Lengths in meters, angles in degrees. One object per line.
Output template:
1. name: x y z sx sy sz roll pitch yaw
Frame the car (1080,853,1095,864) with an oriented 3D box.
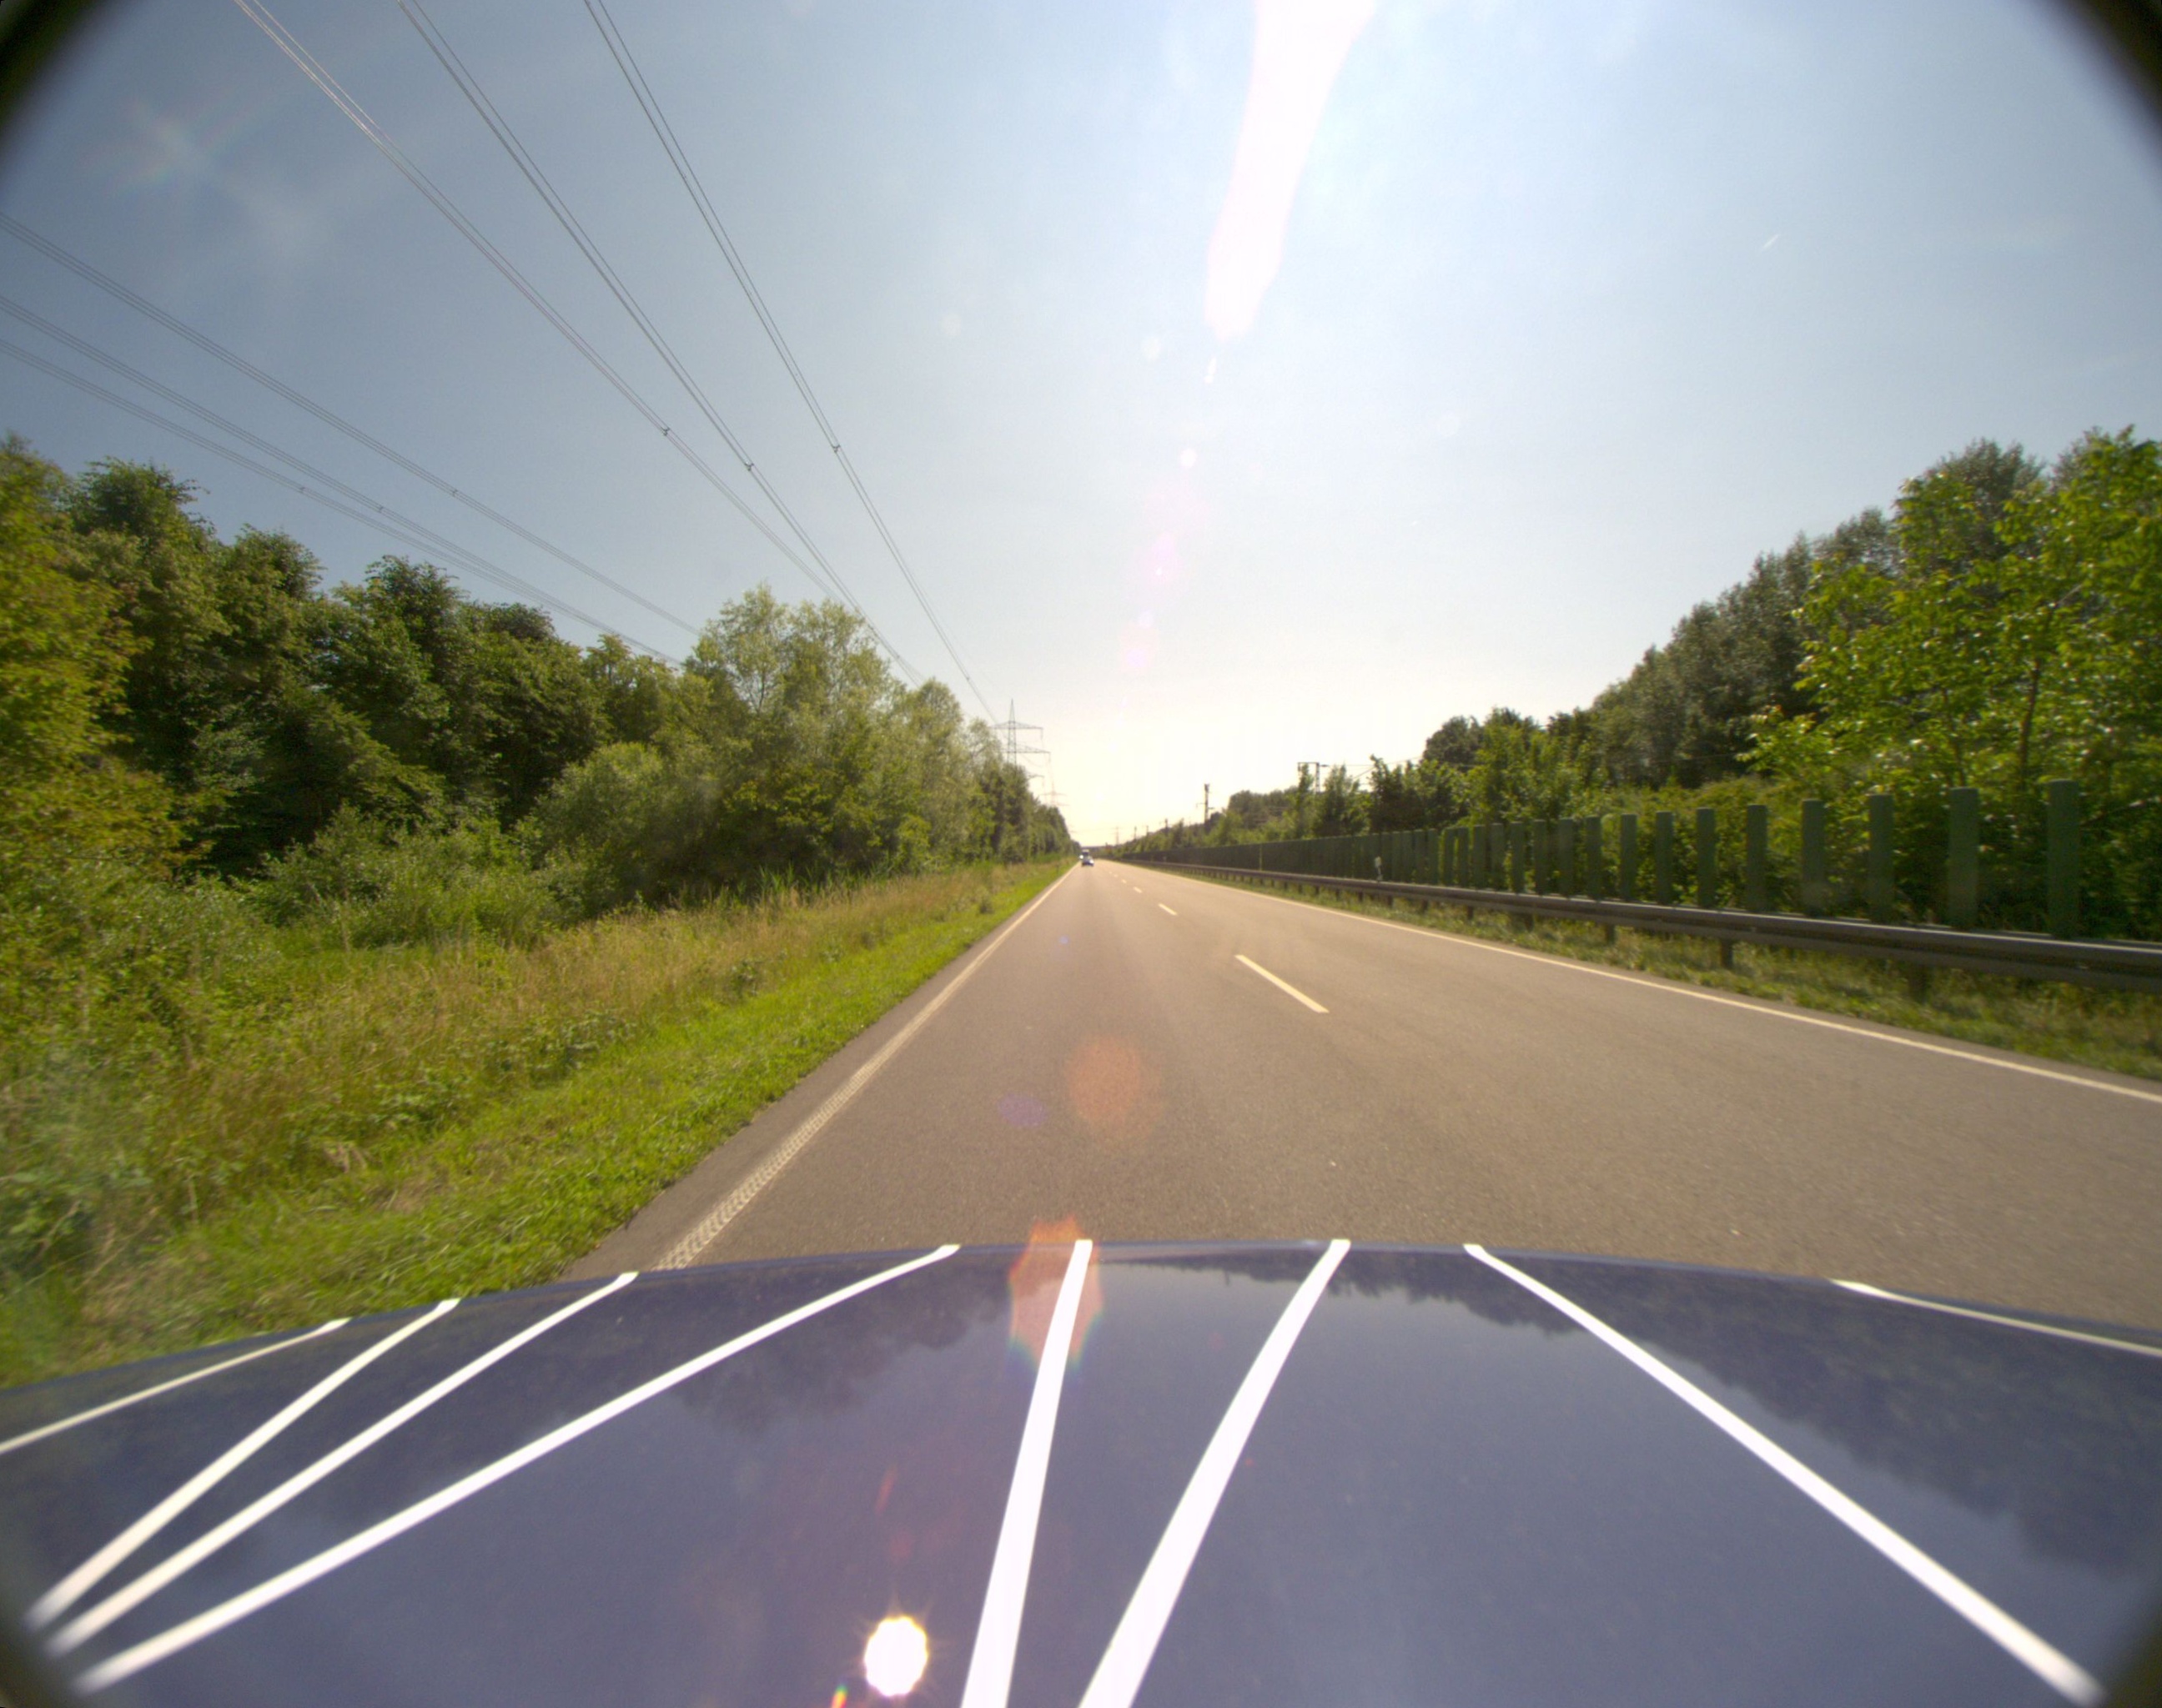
1. car: 0.943 0.617 107.769 1.999 1.346 4.157 -2 1 0
